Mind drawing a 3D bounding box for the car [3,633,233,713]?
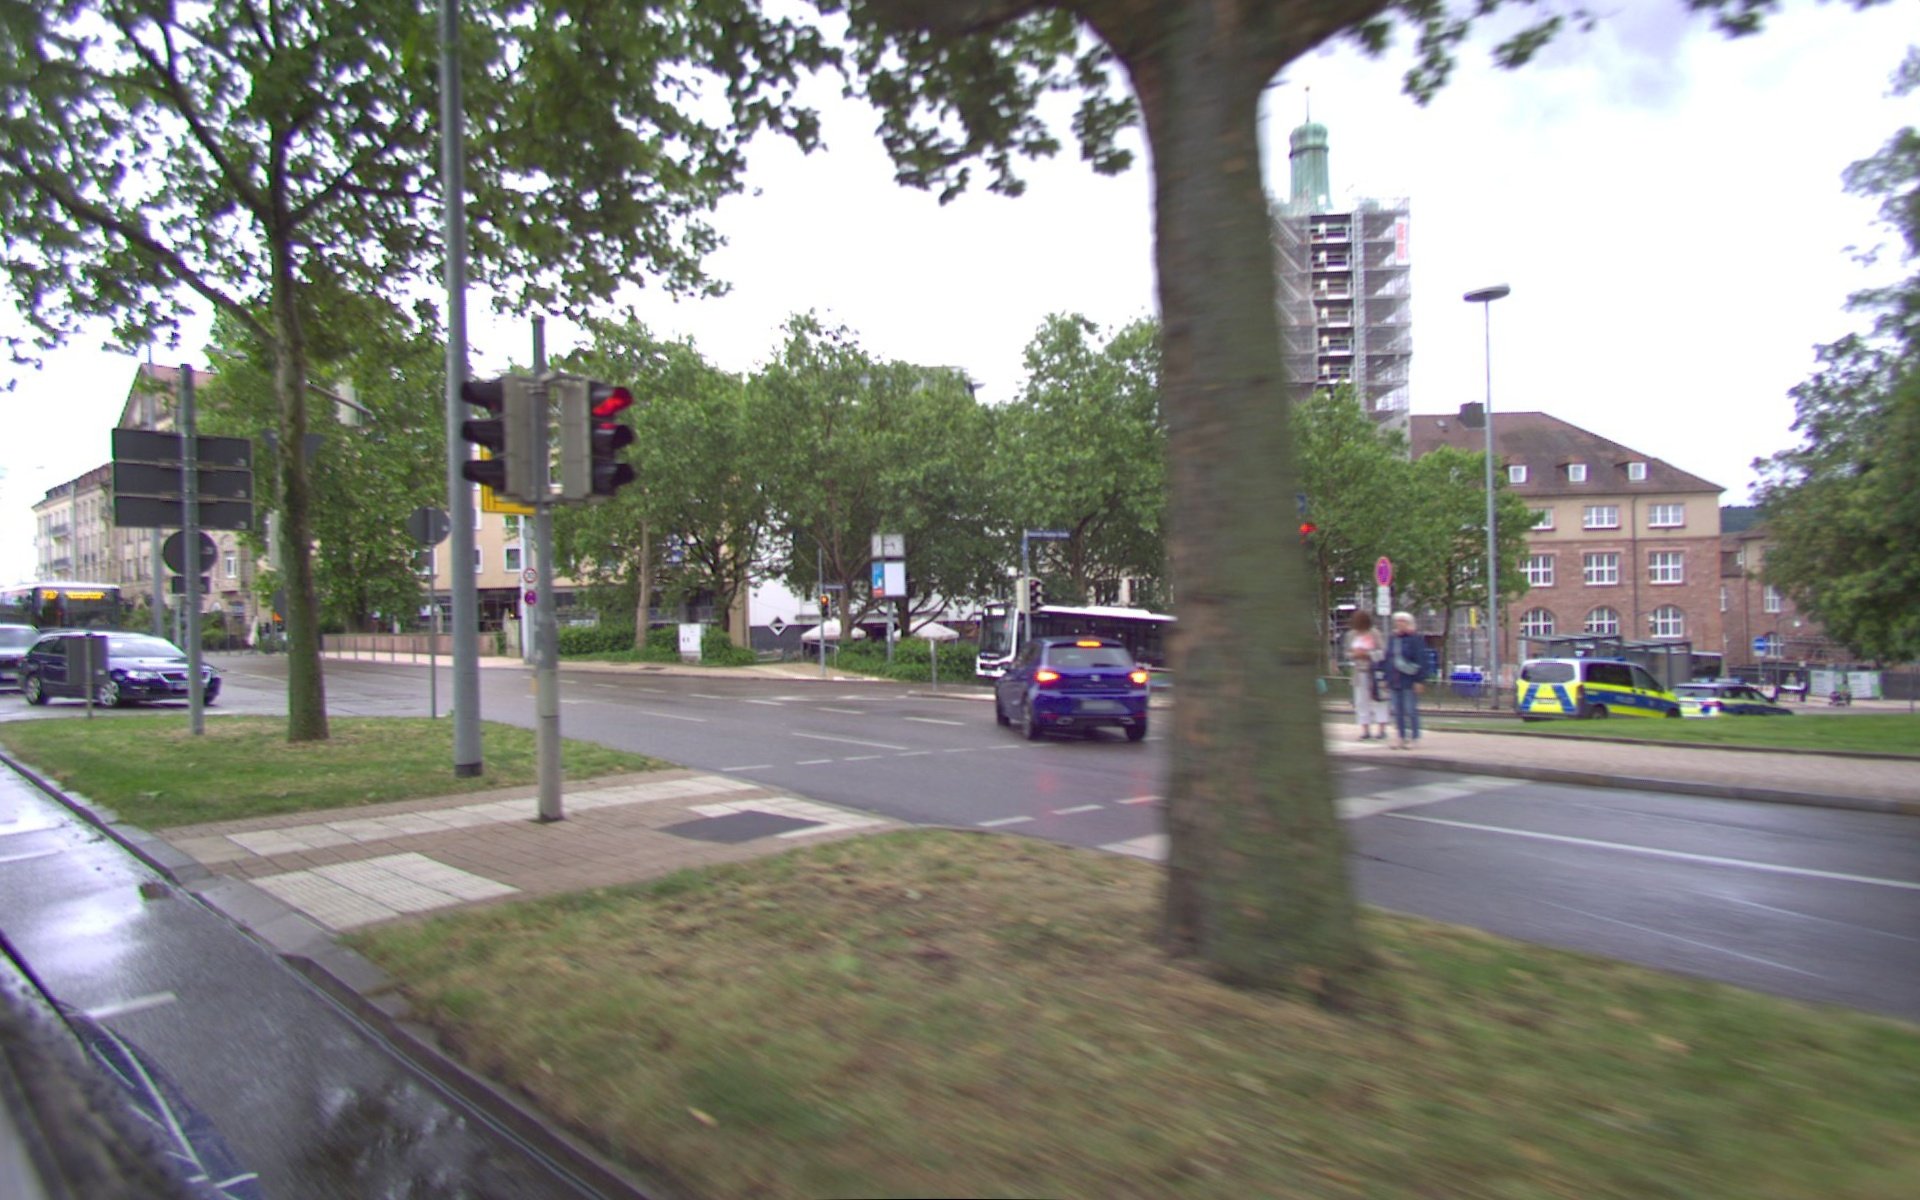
[{"bbox_3d":[-16.673,1.380,20.022,4.388,1.420,1.806,-1,-2,25],"label":"car"}]

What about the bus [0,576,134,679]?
[{"bbox_3d":[-35.296,1.105,39.089,12.547,3.466,2.926,-2,-2,40],"label":"bus"}]

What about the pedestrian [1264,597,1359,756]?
[{"bbox_3d":[4.796,1.010,13.817,0.923,2.061,0.874,1,-2,-42],"label":"pedestrian"}]

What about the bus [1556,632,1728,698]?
[{"bbox_3d":[37.096,3.385,54.836,11.768,3.219,2.898,0,-2,-31],"label":"bus"}]

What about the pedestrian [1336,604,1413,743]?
[{"bbox_3d":[5.360,0.927,13.077,0.795,1.723,0.648,-1,-2,33],"label":"pedestrian"}]

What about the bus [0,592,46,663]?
[{"bbox_3d":[-45.807,1.300,47.960,8.839,3.156,2.723,-1,-2,42],"label":"bus"}]

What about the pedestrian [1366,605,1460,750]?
[{"bbox_3d":[5.275,0.876,11.771,0.921,1.615,0.649,-1,-2,29],"label":"pedestrian"}]

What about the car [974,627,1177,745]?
[{"bbox_3d":[1.567,1.201,15.269,1.817,1.519,4.112,1,-2,-12],"label":"car"}]

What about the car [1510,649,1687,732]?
[{"bbox_3d":[16.876,2.350,26.712,4.509,1.980,2.006,3,-3,-29],"label":"car"}]

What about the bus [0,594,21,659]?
[{"bbox_3d":[-52.765,1.405,54.066,9.908,3.270,2.780,-1,-2,41],"label":"bus"}]

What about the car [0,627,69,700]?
[{"bbox_3d":[-23.189,1.483,24.352,4.354,1.652,1.945,-2,-2,39],"label":"car"}]

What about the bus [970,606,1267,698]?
[{"bbox_3d":[6.260,2.076,38.563,11.766,3.042,2.898,4,-3,-28],"label":"bus"}]

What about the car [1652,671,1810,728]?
[{"bbox_3d":[22.612,2.854,29.671,4.509,1.430,2.006,1,-2,-29],"label":"car"}]
